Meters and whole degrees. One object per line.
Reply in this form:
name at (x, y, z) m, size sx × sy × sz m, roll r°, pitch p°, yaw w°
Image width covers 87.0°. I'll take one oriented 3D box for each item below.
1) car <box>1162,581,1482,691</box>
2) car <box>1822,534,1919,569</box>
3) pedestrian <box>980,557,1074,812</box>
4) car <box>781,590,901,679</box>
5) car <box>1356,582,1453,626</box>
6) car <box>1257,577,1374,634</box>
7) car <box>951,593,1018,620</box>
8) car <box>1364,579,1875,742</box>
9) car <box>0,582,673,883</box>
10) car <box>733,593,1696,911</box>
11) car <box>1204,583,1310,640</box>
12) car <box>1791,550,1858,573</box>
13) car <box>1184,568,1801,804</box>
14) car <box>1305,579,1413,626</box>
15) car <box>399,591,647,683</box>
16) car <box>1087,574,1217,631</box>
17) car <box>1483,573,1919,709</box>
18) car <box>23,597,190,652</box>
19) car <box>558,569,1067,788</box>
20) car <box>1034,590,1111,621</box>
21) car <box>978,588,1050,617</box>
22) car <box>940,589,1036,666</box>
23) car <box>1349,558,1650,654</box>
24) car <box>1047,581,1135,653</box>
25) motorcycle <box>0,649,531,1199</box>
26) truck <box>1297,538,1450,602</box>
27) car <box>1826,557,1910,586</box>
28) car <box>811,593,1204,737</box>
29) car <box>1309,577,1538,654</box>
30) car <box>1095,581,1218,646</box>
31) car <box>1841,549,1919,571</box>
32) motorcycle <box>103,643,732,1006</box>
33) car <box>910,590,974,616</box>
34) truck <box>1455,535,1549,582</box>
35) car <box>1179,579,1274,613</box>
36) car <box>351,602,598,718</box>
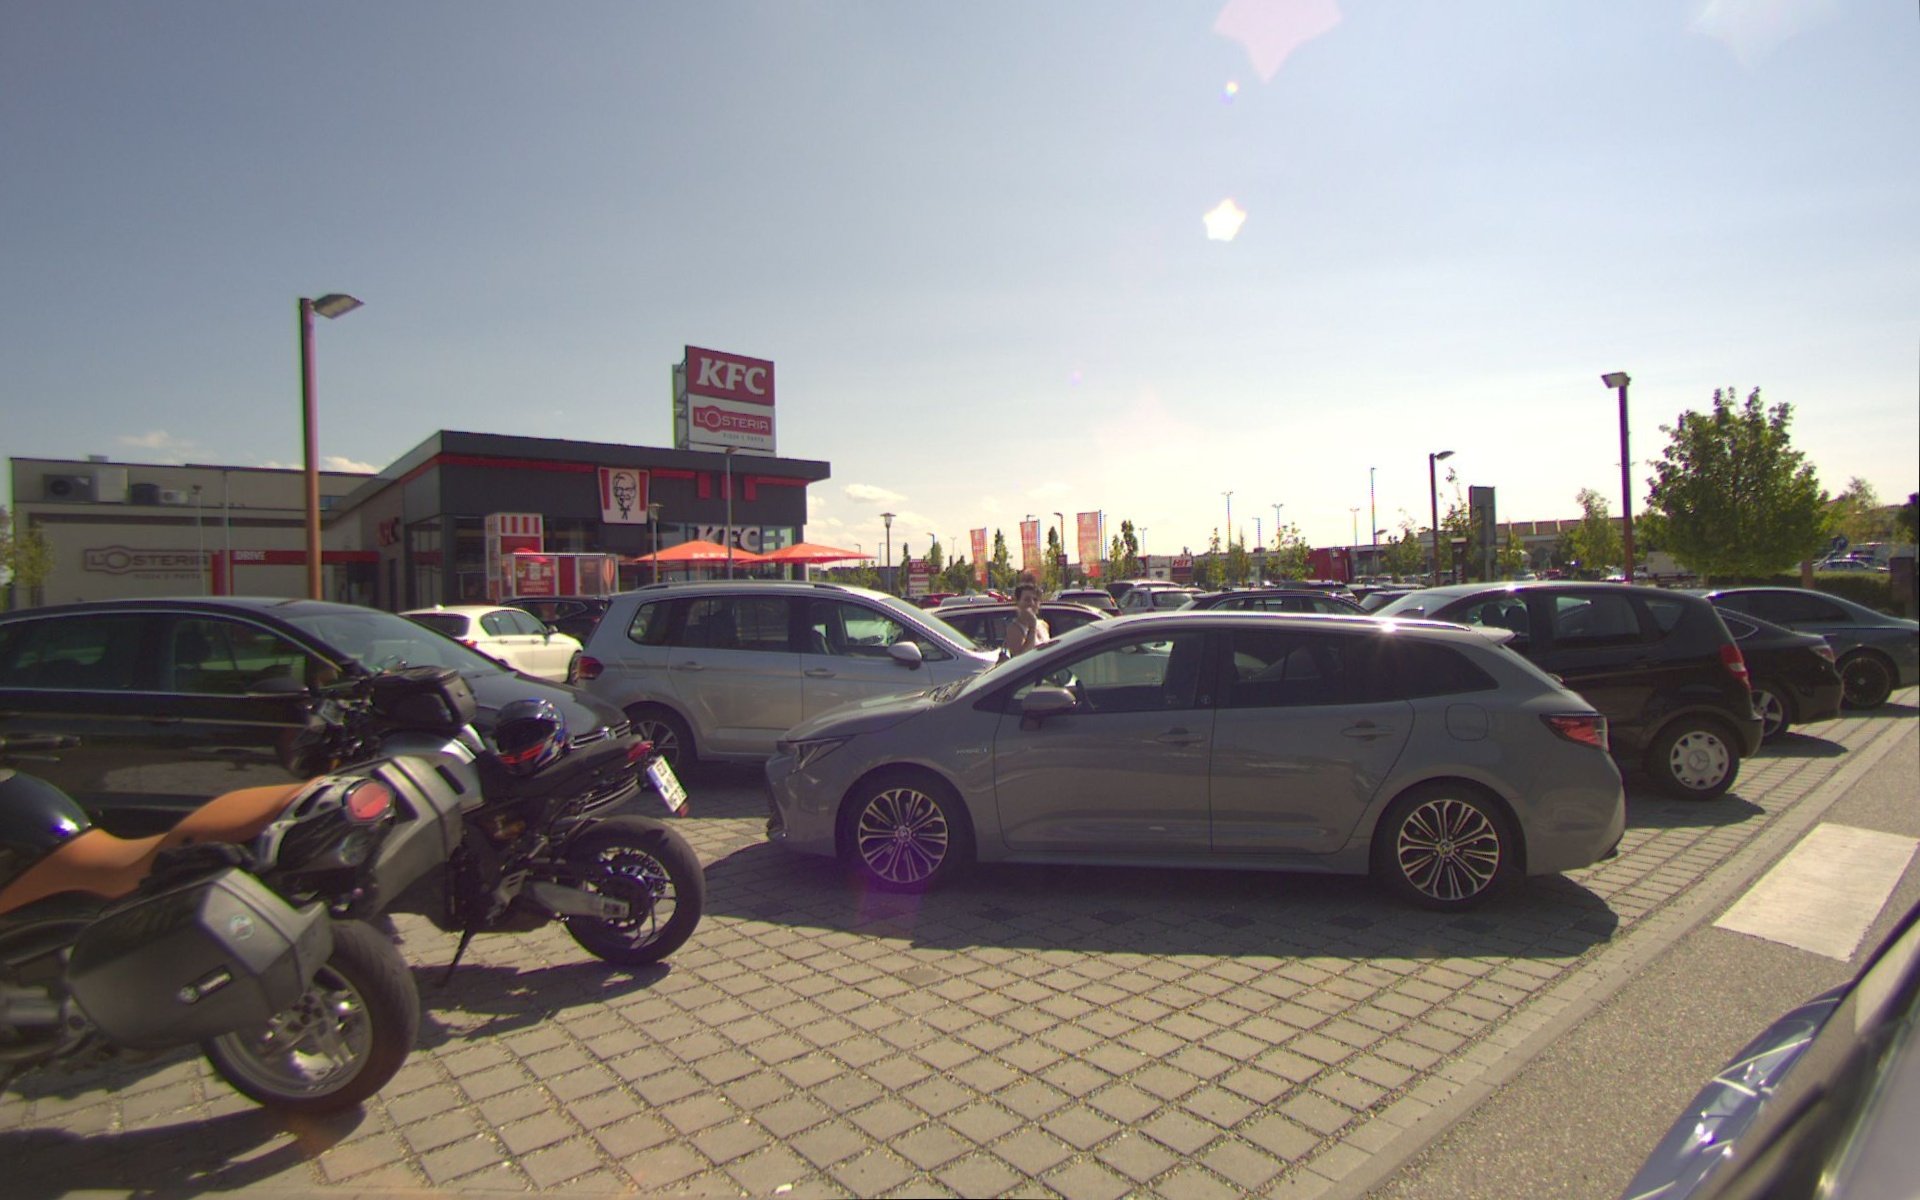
car at (5.525, 0.533, 15.988) m, size 4.339 × 1.530 × 1.981 m, roll -2°, pitch 0°, yaw 5°
car at (65.253, -3.422, 71.341) m, size 2.261 × 2.272 × 6.560 m, roll -2°, pitch 1°, yaw -41°
pedestrian at (0.492, 0.574, 7.240) m, size 0.555 × 1.734 × 0.608 m, roll -1°, pitch 0°, yaw 12°
car at (-2.184, 0.574, 19.730) m, size 1.877 × 1.490 × 4.473 m, roll -2°, pitch 1°, yaw -1°
car at (15.875, 0.116, 36.384) m, size 1.878 × 1.440 × 3.773 m, roll -2°, pitch 0°, yaw 2°
car at (10.812, 0.149, 31.104) m, size 1.770 × 1.576 × 4.060 m, roll -2°, pitch 1°, yaw -6°
car at (1.451, 0.359, 60.388) m, size 3.683 × 1.472 × 1.688 m, roll -2°, pitch 0°, yaw -34°
car at (6.585, 0.581, 10.526) m, size 4.003 × 1.467 × 1.826 m, roll -2°, pitch 0°, yaw 5°
car at (-4.159, 0.703, 6.392) m, size 4.117 × 1.556 × 1.893 m, roll -1°, pitch 0°, yaw 6°
car at (1.200, 0.694, 5.831) m, size 4.581 × 1.465 × 1.833 m, roll 0°, pitch 0°, yaw 6°
car at (8.283, 0.279, 28.626) m, size 1.681 × 1.428 × 4.680 m, roll -2°, pitch 1°, yaw 2°
car at (70.716, -3.121, 82.845) m, size 4.169 × 1.749 × 1.897 m, roll -2°, pitch 0°, yaw -10°
car at (3.958, 0.626, 8.141) m, size 3.928 × 1.613 × 1.810 m, roll -2°, pitch 0°, yaw 5°
car at (13.239, 0.068, 33.861) m, size 1.762 × 1.440 × 4.089 m, roll -2°, pitch 1°, yaw -3°
car at (-8.294, 0.677, 19.411) m, size 4.014 × 1.596 × 1.755 m, roll -2°, pitch 0°, yaw 5°
car at (6.564, 0.042, 34.345) m, size 4.291 × 1.772 × 2.069 m, roll -2°, pitch 1°, yaw -40°
car at (9.472, 0.484, 12.973) m, size 4.462 × 1.530 × 1.885 m, roll -2°, pitch 0°, yaw 5°
car at (-29.399, 0.797, 34.949) m, size 4.313 × 1.706 × 1.637 m, roll -2°, pitch 1°, yaw -45°
car at (-1.127, 0.618, 8.729) m, size 3.995 × 1.660 × 1.746 m, roll -1°, pitch 0°, yaw 5°
car at (5.741, 0.255, 51.639) m, size 3.683 × 1.472 × 1.688 m, roll -2°, pitch 0°, yaw -34°
car at (3.005, 0.118, 56.370) m, size 3.683 × 1.472 × 1.688 m, roll -2°, pitch 0°, yaw -34°
car at (0.574, 0.503, 21.250) m, size 1.787 × 1.420 × 3.999 m, roll -2°, pitch 1°, yaw 2°
car at (9.620, 0.097, 18.390) m, size 4.339 × 1.530 × 1.981 m, roll -2°, pitch 0°, yaw 5°
car at (2.969, 0.338, 23.699) m, size 1.788 × 1.508 × 3.996 m, roll -1°, pitch 1°, yaw 4°
motorcycle at (-2.512, 0.790, 2.787) m, size 2.210 × 1.267 × 1.070 m, roll 0°, pitch -1°, yaw 1°
truck at (27.090, -1.889, 66.872) m, size 3.148 × 3.915 × 9.133 m, roll -2°, pitch 1°, yaw -33°
car at (59.288, -1.820, 66.138) m, size 1.864 × 1.749 × 3.988 m, roll -2°, pitch 1°, yaw -45°
car at (0.504, 0.671, 11.292) m, size 4.008 × 1.426 × 1.792 m, roll -1°, pitch 0°, yaw 3°
car at (9.307, 0.300, 20.576) m, size 3.836 × 1.444 × 1.703 m, roll -1°, pitch 0°, yaw 7°
car at (5.075, 0.311, 26.767) m, size 1.742 × 1.530 × 4.359 m, roll -2°, pitch 1°, yaw -9°
car at (63.065, -2.738, 69.331) m, size 1.637 × 1.359 × 3.901 m, roll -2°, pitch 1°, yaw -41°
motorcycle at (-2.055, 0.825, 4.097) m, size 2.099 × 1.247 × 0.821 m, roll -1°, pitch -1°, yaw -3°
car at (-1.142, 0.177, 64.602) m, size 3.683 × 1.530 × 1.688 m, roll -2°, pitch 0°, yaw -34°
truck at (42.207, -3.160, 79.100) m, size 2.373 × 3.393 × 7.577 m, roll -2°, pitch 1°, yaw -8°
car at (11.987, -0.193, 45.488) m, size 4.075 × 1.415 × 1.889 m, roll -2°, pitch 1°, yaw -34°
car at (-7.237, 0.811, 15.611) m, size 1.809 × 1.443 × 4.186 m, roll -2°, pitch 1°, yaw 0°
